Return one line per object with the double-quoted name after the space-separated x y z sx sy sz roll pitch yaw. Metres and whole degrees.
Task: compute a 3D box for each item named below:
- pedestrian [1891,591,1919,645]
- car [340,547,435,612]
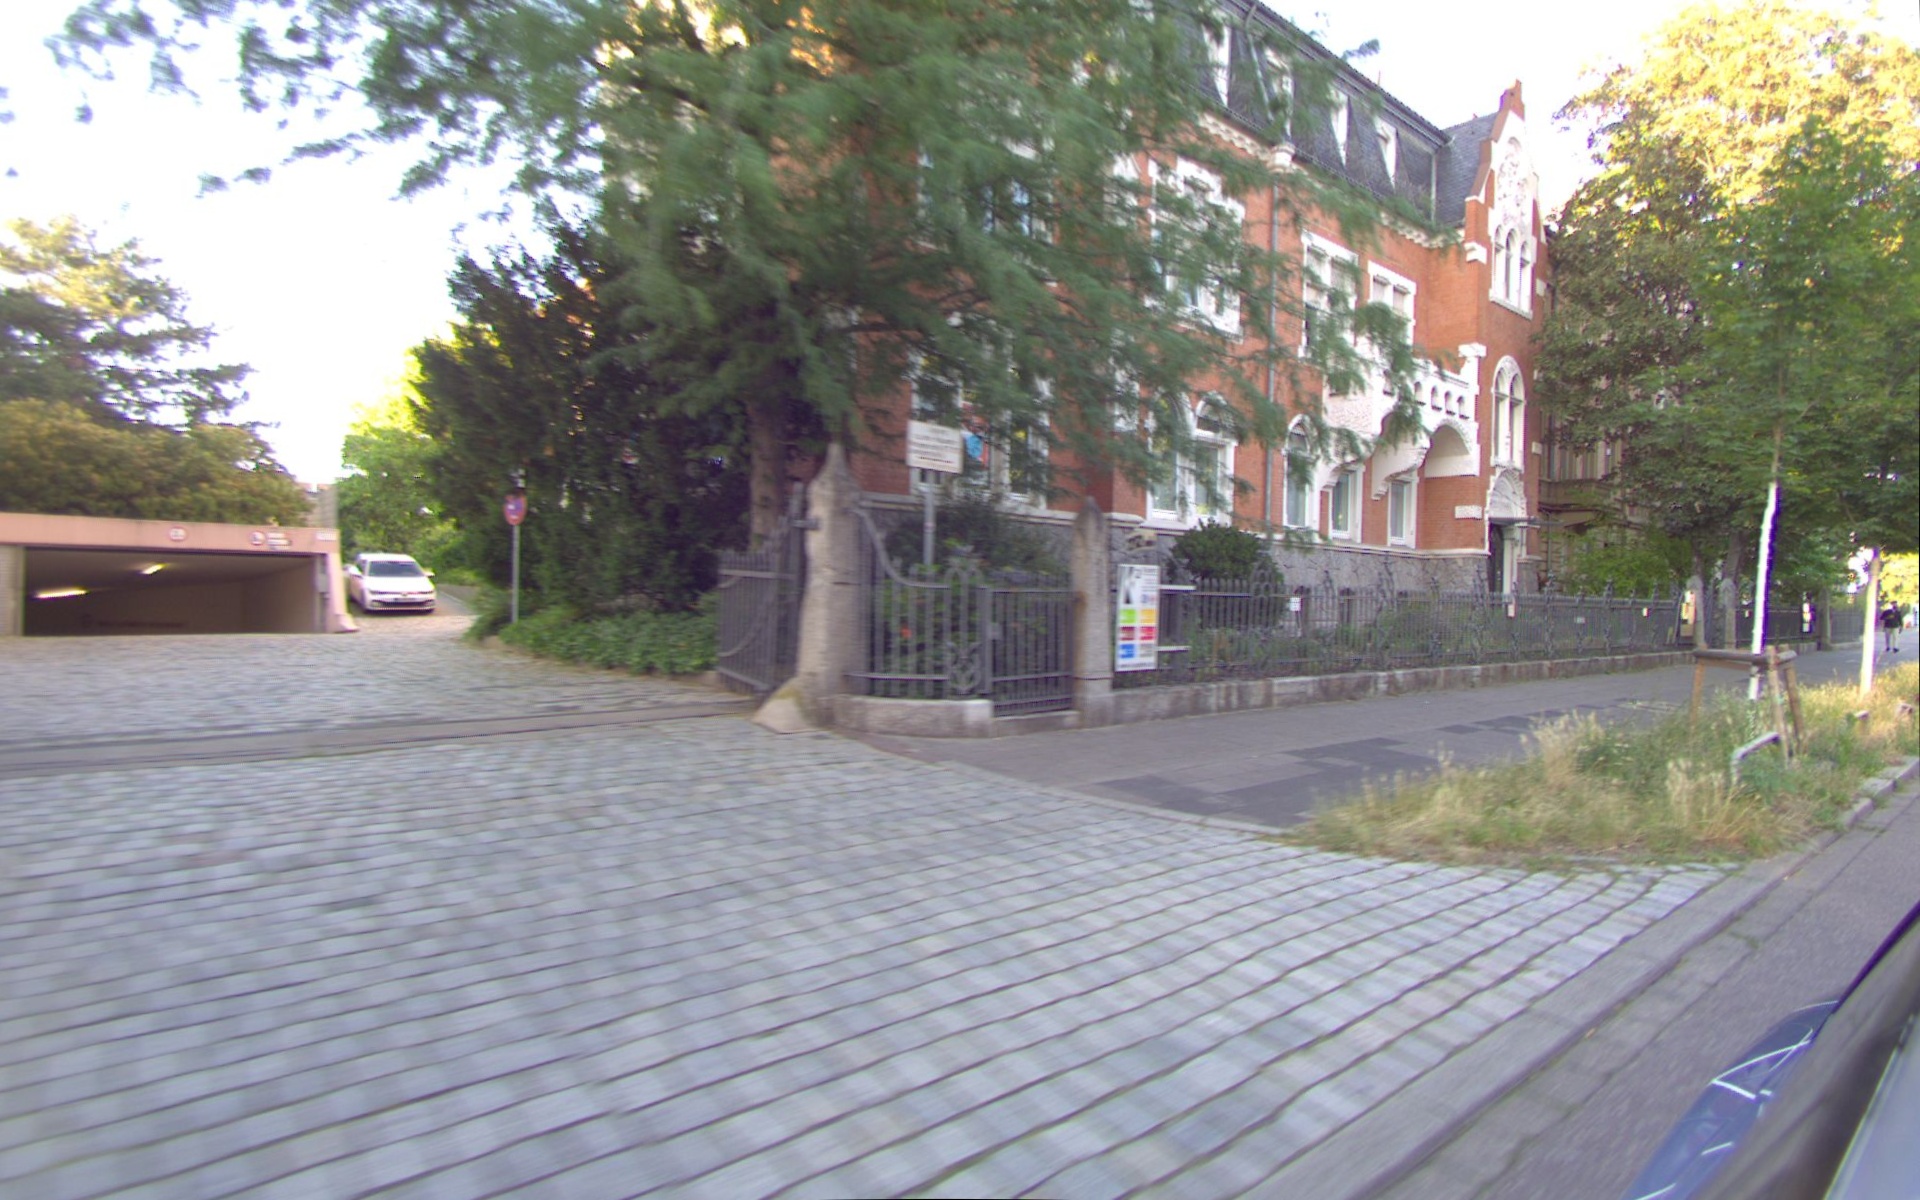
32.923 0.615 35.160 0.745 1.800 0.819 5 3 43 "pedestrian"
-16.383 -0.615 28.866 1.788 1.503 4.456 1 5 -37 "car"
